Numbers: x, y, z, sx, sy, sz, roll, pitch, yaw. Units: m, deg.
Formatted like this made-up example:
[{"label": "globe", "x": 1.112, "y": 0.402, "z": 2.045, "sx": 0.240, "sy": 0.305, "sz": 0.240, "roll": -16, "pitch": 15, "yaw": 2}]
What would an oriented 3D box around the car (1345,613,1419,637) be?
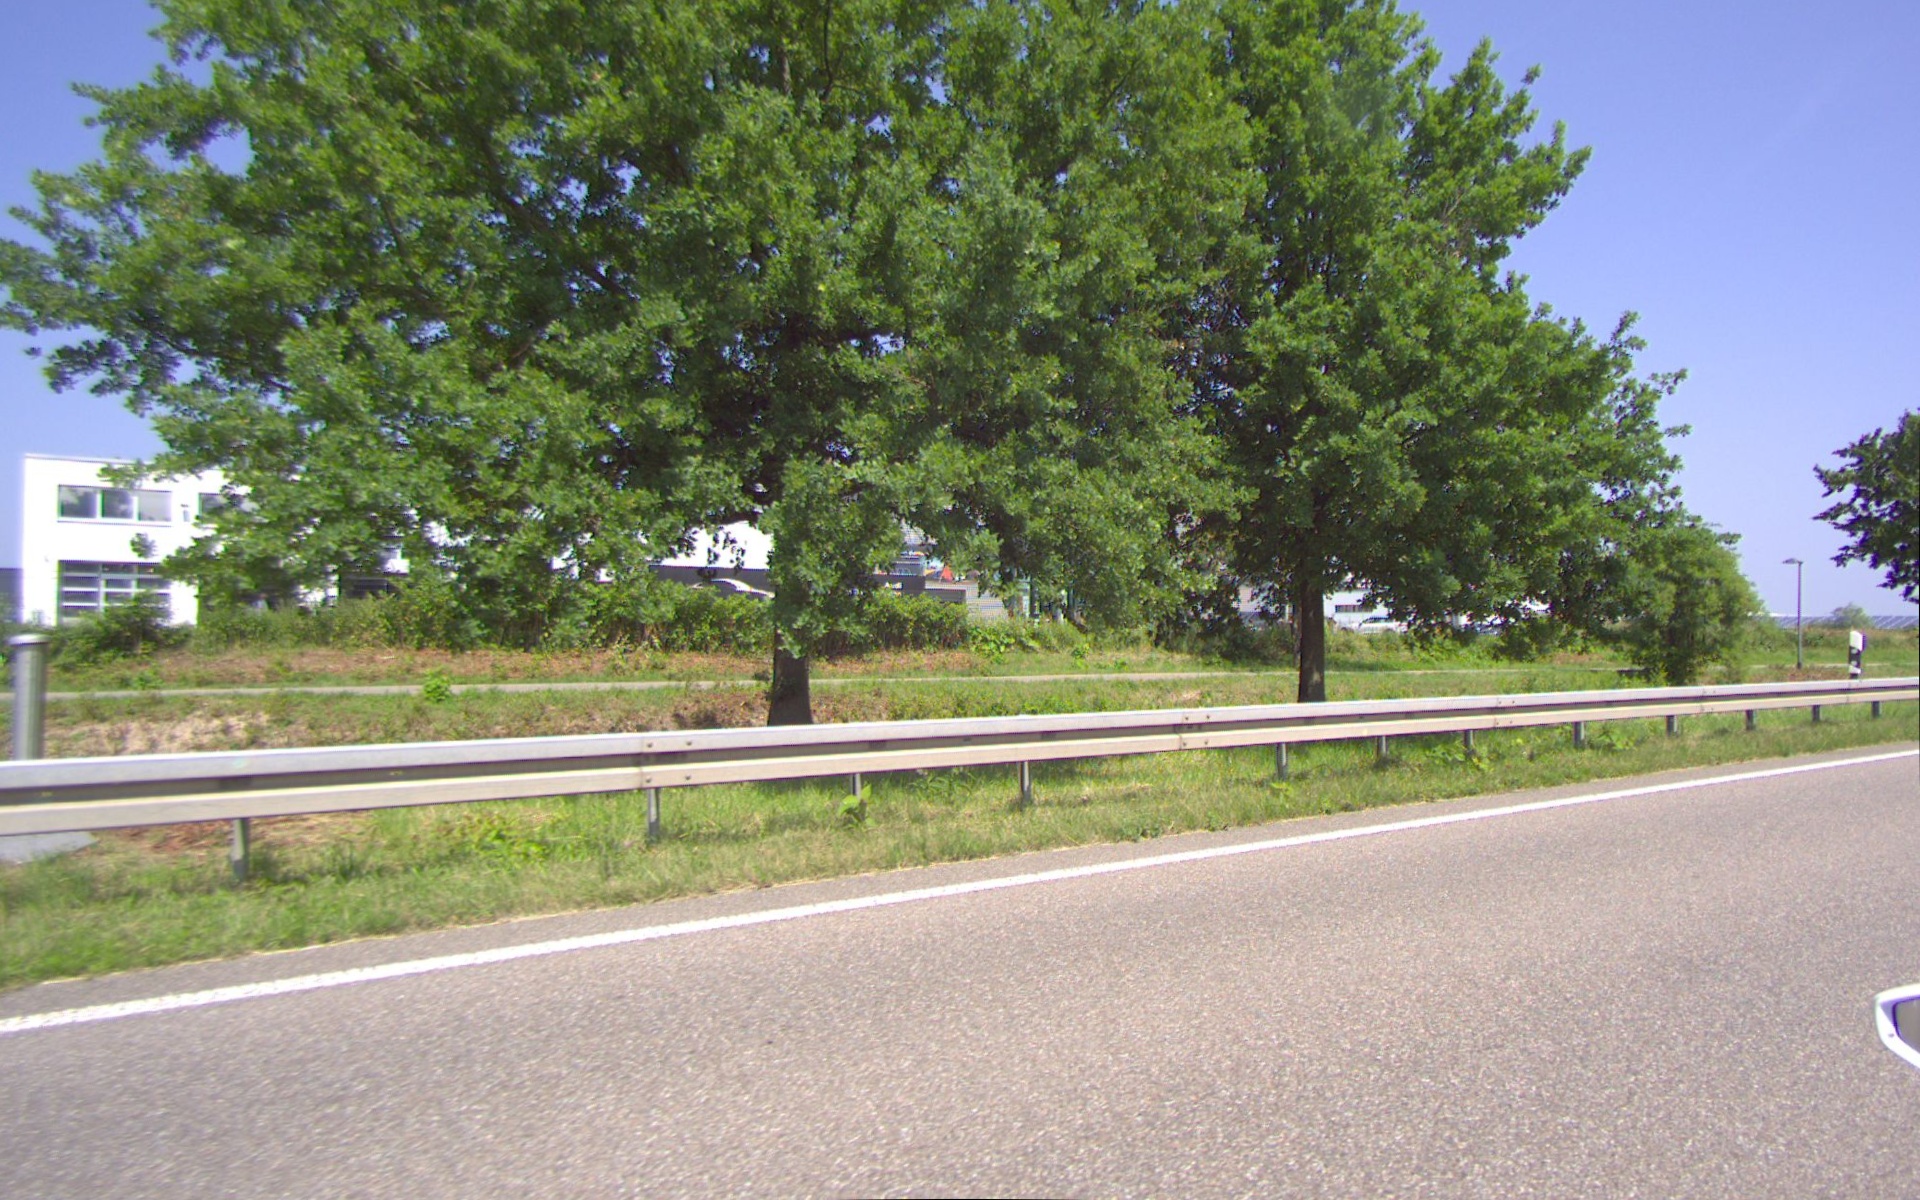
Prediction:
[{"label": "car", "x": 26.976, "y": 1.613, "z": 64.351, "sx": 1.608, "sy": 1.456, "sz": 4.198, "roll": 2, "pitch": -3, "yaw": -35}]
